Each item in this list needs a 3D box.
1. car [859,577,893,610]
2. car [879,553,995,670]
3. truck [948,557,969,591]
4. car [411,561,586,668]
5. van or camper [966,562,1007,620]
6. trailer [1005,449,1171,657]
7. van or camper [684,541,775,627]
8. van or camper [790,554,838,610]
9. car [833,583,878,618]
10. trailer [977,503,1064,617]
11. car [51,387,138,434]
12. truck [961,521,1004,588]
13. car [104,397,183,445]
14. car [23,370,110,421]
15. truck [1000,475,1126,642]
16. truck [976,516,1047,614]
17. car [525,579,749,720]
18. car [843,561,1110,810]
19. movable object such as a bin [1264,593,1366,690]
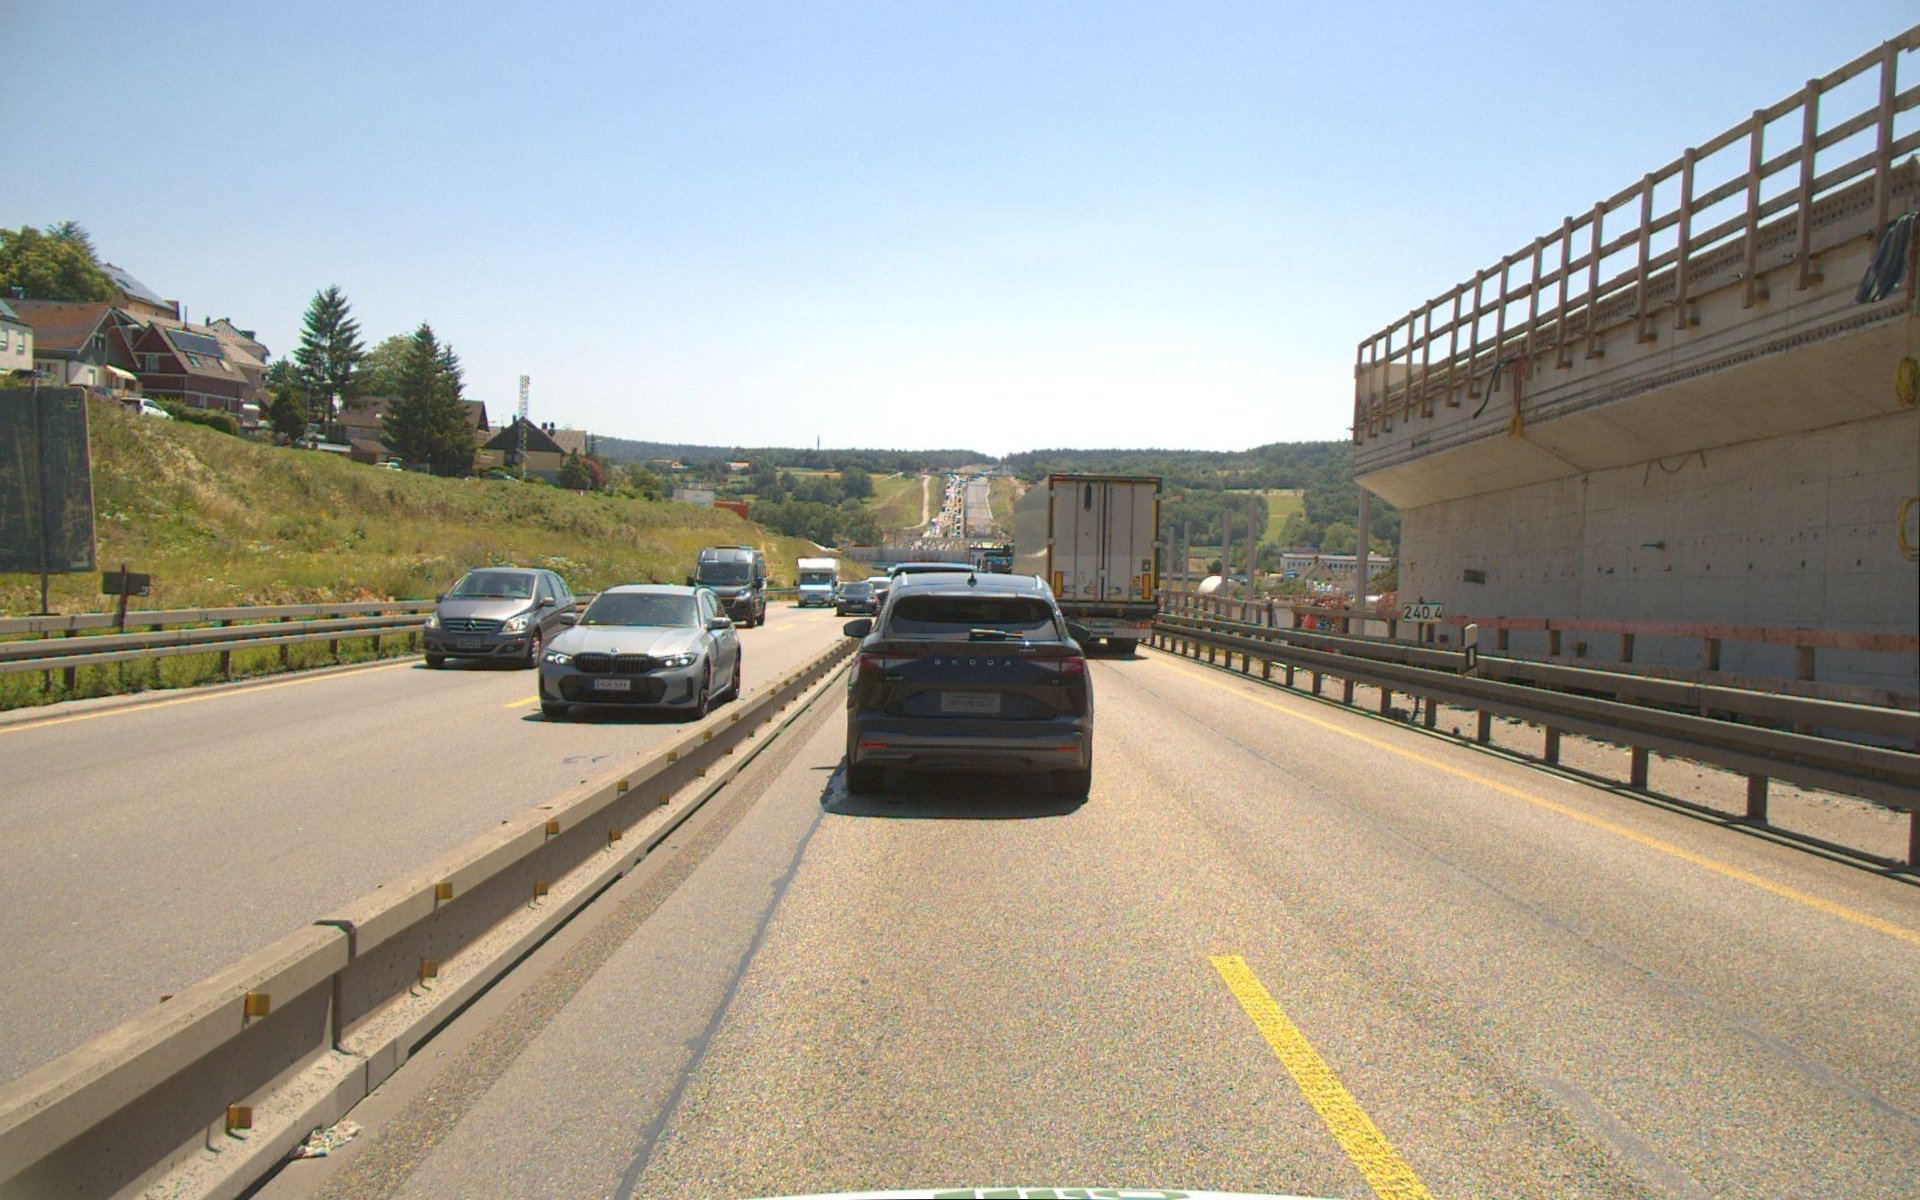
[{"bbox_3d":[-4.951,-0.405,98.071,1.800,1.860,5.039,1,0,-1],"label":"car"},{"bbox_3d":[-0.424,0.219,30.504,1.953,1.959,4.506,1,-1,-1],"label":"car"},{"bbox_3d":[-0.261,-3.434,220.714,2.586,4.267,9.282,1,-1,-1],"label":"truck"},{"bbox_3d":[-7.628,0.209,27.733,1.737,1.609,4.285,2,0,-1],"label":"car"},{"bbox_3d":[1.591,-0.483,98.961,2.339,3.338,6.469,1,-1,1],"label":"van or camper"},{"bbox_3d":[3.036,-1.149,43.468,3.116,4.591,13.107,1,1,-1],"label":"trailer"},{"bbox_3d":[-7.512,-0.517,54.548,2.096,2.618,6.563,1,0,-1],"label":"van or camper"},{"bbox_3d":[-8.514,-1.076,97.082,2.244,3.120,6.923,1,0,-1],"label":"van or camper"},{"bbox_3d":[-4.678,-0.011,74.551,1.805,1.501,4.834,1,0,-1],"label":"car"},{"bbox_3d":[2.560,-1.572,75.340,3.116,4.592,14.963,1,-1,-1],"label":"trailer"},{"bbox_3d":[-45.715,-9.989,87.459,2.301,1.825,4.797,1,-1,-4],"label":"car"},{"bbox_3d":[1.643,-3.335,125.157,2.794,4.543,11.913,1,-1,-1],"label":"truck"},{"bbox_3d":[-46.223,-10.101,93.735,2.301,2.077,4.814,1,-1,-4],"label":"car"},{"bbox_3d":[-43.855,-10.019,81.338,2.137,1.825,4.756,1,-1,-7],"label":"car"},{"bbox_3d":[2.947,-1.212,49.987,3.116,4.591,8.165,1,1,-1],"label":"truck"},{"bbox_3d":[2.489,-1.616,82.490,3.116,4.592,8.163,1,-1,-1],"label":"truck"},{"bbox_3d":[-3.666,0.505,19.576,1.792,1.458,4.628,0,0,-1],"label":"car"},{"bbox_3d":[0.108,0.574,13.092,1.765,1.635,4.000,1,0,0],"label":"car"},{"bbox_3d":[18.700,2.116,87.828,3.162,4.826,9.653,1,-1,-1],"label":"movable object such as a bin"}]
